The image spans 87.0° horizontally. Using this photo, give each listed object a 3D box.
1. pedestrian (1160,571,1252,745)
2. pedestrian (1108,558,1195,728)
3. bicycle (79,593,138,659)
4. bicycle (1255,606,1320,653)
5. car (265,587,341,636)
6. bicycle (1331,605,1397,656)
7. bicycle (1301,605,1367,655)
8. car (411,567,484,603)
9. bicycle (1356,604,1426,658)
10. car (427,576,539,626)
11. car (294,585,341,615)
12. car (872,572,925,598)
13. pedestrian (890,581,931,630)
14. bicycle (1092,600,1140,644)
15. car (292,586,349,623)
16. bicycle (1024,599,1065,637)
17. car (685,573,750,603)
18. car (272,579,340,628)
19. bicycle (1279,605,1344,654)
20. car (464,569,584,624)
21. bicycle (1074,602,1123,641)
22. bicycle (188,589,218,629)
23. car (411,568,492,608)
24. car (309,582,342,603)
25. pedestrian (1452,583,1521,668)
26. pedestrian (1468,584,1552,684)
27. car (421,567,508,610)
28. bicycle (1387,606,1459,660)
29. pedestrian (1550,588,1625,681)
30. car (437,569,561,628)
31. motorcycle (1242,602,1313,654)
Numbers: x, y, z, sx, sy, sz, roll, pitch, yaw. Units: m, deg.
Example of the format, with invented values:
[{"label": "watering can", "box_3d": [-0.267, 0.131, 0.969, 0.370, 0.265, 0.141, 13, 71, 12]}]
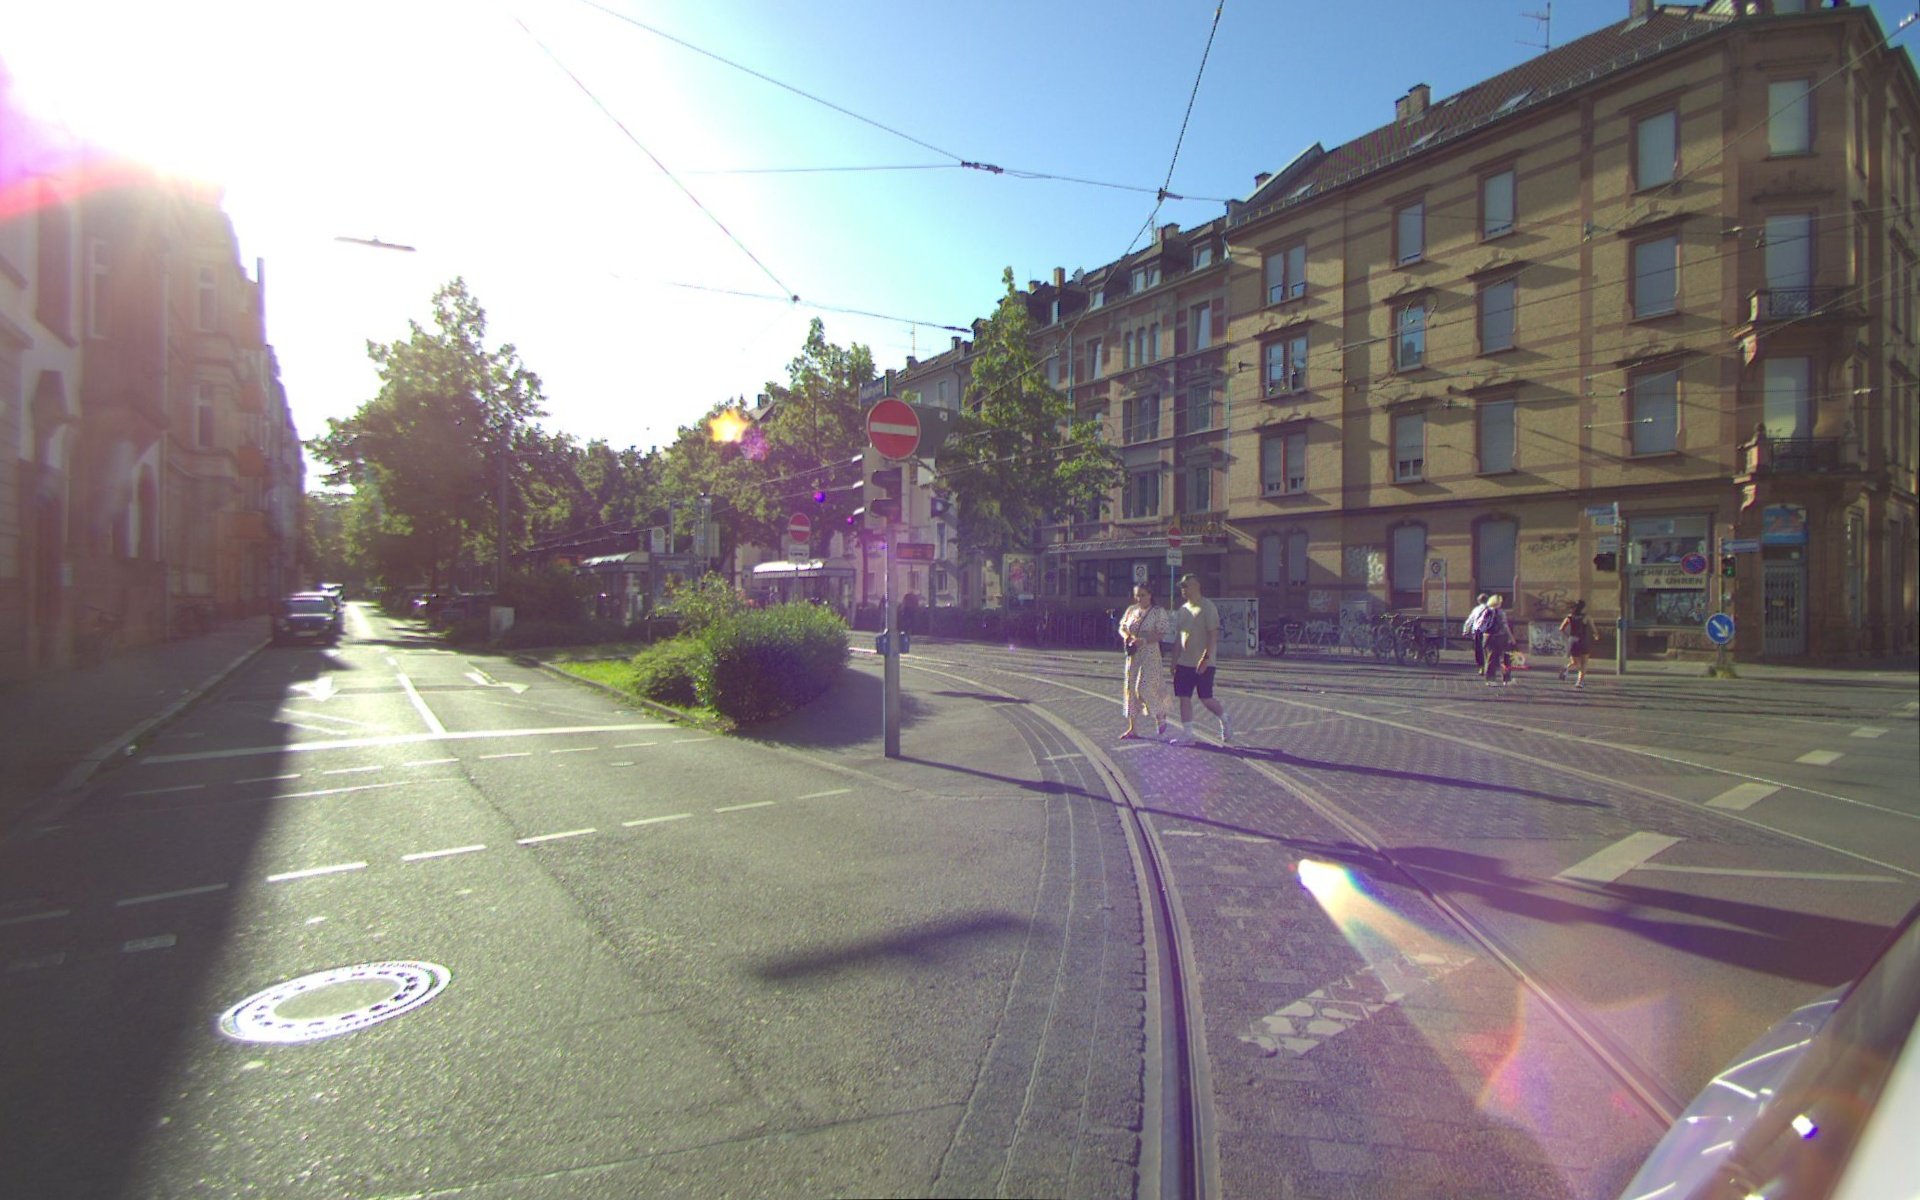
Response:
[{"label": "pedestrian", "box_3d": [2.503, 0.558, 10.342, 0.619, 1.675, 0.704, -2, 2, -17]}, {"label": "pedestrian", "box_3d": [2.070, 0.446, 11.021, 0.691, 1.766, 0.646, -3, 1, -7]}, {"label": "bicycle", "box_3d": [-16.752, 0.473, 19.945, 0.515, 1.188, 2.196, -2, 2, -31]}, {"label": "bicycle", "box_3d": [9.109, 0.798, 28.068, 2.272, 1.225, 0.650, -1, 1, -42]}, {"label": "car", "box_3d": [-20.223, 0.302, 31.144, 1.858, 1.415, 4.001, 0, 1, -34]}, {"label": "bicycle", "box_3d": [10.503, 0.777, 26.277, 2.272, 1.225, 0.650, -1, 1, -42]}, {"label": "bicycle", "box_3d": [9.939, 0.775, 26.855, 2.272, 1.225, 0.650, -1, 1, -42]}, {"label": "car", "box_3d": [-31.819, -0.946, 62.860, 3.920, 2.038, 2.002, -3, 1, -29]}, {"label": "bicycle", "box_3d": [10.933, 0.759, 25.624, 2.272, 1.224, 0.752, -2, 2, -42]}, {"label": "car", "box_3d": [-19.149, 0.010, 40.634, 3.921, 1.774, 1.834, -3, 1, -29]}, {"label": "car", "box_3d": [-31.794, -0.046, 50.046, 1.858, 1.415, 4.001, 0, 1, -34]}, {"label": "car", "box_3d": [-3.766, -0.905, 61.145, 1.710, 1.437, 3.773, -3, 3, -29]}, {"label": "pedestrian", "box_3d": [-1.755, 0.176, 35.780, 1.002, 1.652, 1.010, 0, 3, 34]}, {"label": "bicycle", "box_3d": [4.866, 0.653, 31.496, 0.647, 1.224, 2.014, 1, 3, 36]}, {"label": "car", "box_3d": [-25.709, 0.147, 40.607, 1.858, 1.415, 4.001, 0, 1, -34]}, {"label": "bicycle", "box_3d": [2.706, 0.553, 32.188, 0.644, 1.143, 2.023, 1, 1, 25]}, {"label": "car", "box_3d": [-16.945, -0.849, 70.855, 3.933, 1.833, 1.996, -3, 1, 8]}, {"label": "car", "box_3d": [-22.500, 0.088, 34.809, 1.858, 1.587, 4.001, 0, 1, -34]}, {"label": "bicycle", "box_3d": [9.574, 0.783, 27.501, 2.272, 1.225, 0.650, -1, 1, -42]}, {"label": "car", "box_3d": [-16.293, -0.141, 37.839, 3.921, 1.816, 1.834, -3, 1, -29]}, {"label": "bicycle", "box_3d": [4.412, 0.663, 32.131, 0.647, 1.143, 2.014, 1, 1, 36]}, {"label": "bicycle", "box_3d": [-24.156, 0.267, 32.329, 0.515, 1.188, 2.196, -2, 2, -31]}, {"label": "car", "box_3d": [-28.505, -0.663, 56.733, 3.920, 2.038, 2.002, -3, 1, -29]}, {"label": "car", "box_3d": [-44.284, -0.543, 70.562, 1.858, 1.415, 4.001, 0, 1, -34]}, {"label": "pedestrian", "box_3d": [10.968, 0.504, 21.086, 0.990, 1.652, 0.926, -3, 3, -33]}, {"label": "pedestrian", "box_3d": [9.677, 0.575, 17.828, 0.923, 1.652, 0.927, -2, 2, -7]}, {"label": "car", "box_3d": [-25.847, -0.624, 52.842, 3.920, 2.038, 2.002, -3, 1, -29]}, {"label": "bicycle", "box_3d": [11.454, 0.785, 24.986, 2.272, 1.225, 0.752, -1, 1, -42]}, {"label": "pedestrian", "box_3d": [11.023, 0.588, 17.788, 0.923, 1.556, 0.636, -2, 2, -7]}, {"label": "car", "box_3d": [-16.144, -0.077, 35.478, 3.779, 1.816, 1.698, -3, 1, -29]}, {"label": "motorcycle", "box_3d": [9.295, 0.805, 29.699, 1.916, 1.422, 0.862, 2, 1, 15]}]
